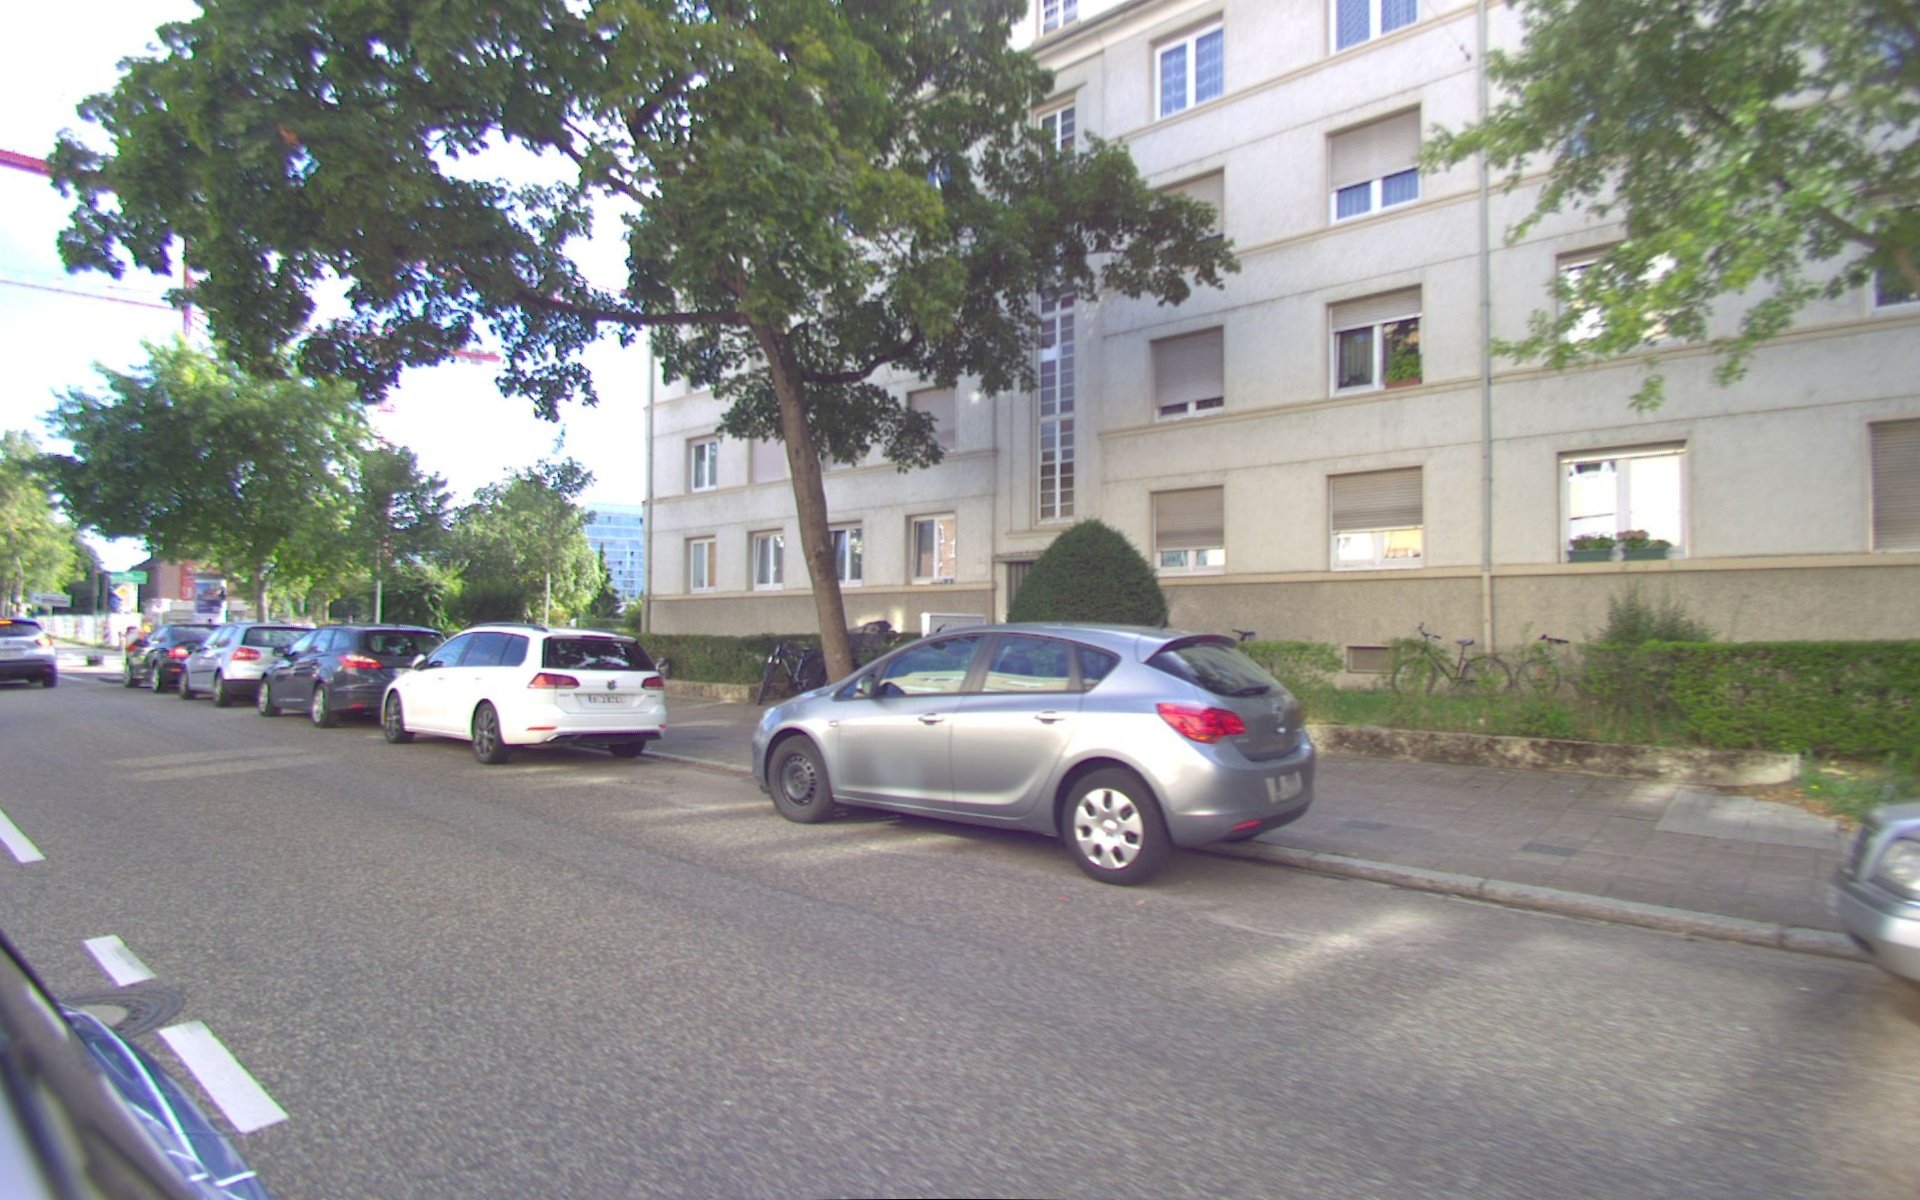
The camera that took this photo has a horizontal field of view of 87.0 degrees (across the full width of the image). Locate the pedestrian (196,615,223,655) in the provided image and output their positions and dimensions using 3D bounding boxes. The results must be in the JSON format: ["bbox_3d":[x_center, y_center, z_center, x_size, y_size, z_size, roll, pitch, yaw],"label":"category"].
[{"bbox_3d":[-33.908,1.593,45.714,0.775,1.782,0.734,-2,-4,40],"label":"pedestrian"}]

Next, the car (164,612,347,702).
[{"bbox_3d":[-13.307,1.063,19.019,4.367,1.497,1.801,-2,-5,42],"label":"car"}]

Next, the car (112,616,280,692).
[{"bbox_3d":[-16.860,1.182,22.263,4.416,1.497,1.908,-2,-5,39],"label":"car"}]

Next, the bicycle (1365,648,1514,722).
[{"bbox_3d":[7.557,1.308,16.019,2.022,1.068,0.627,-1,-2,41],"label":"bicycle"}]

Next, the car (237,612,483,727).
[{"bbox_3d":[-9.222,0.987,15.388,4.681,1.497,1.836,-2,-3,41],"label":"car"}]

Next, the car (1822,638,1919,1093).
[{"bbox_3d":[5.160,0.836,2.425,4.663,1.404,1.720,-2,-5,41],"label":"car"}]

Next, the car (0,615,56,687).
[{"bbox_3d":[-21.602,1.107,22.512,4.007,1.513,1.722,-1,-1,41],"label":"car"}]

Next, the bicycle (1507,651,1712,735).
[{"bbox_3d":[9.269,1.293,14.527,2.403,1.068,0.627,-1,-2,41],"label":"bicycle"}]

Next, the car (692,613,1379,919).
[{"bbox_3d":[0.273,0.908,7.198,4.680,1.497,1.836,-2,-4,40],"label":"car"}]

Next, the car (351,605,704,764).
[{"bbox_3d":[-5.195,0.931,11.812,4.796,1.497,1.836,-2,-6,41],"label":"car"}]
